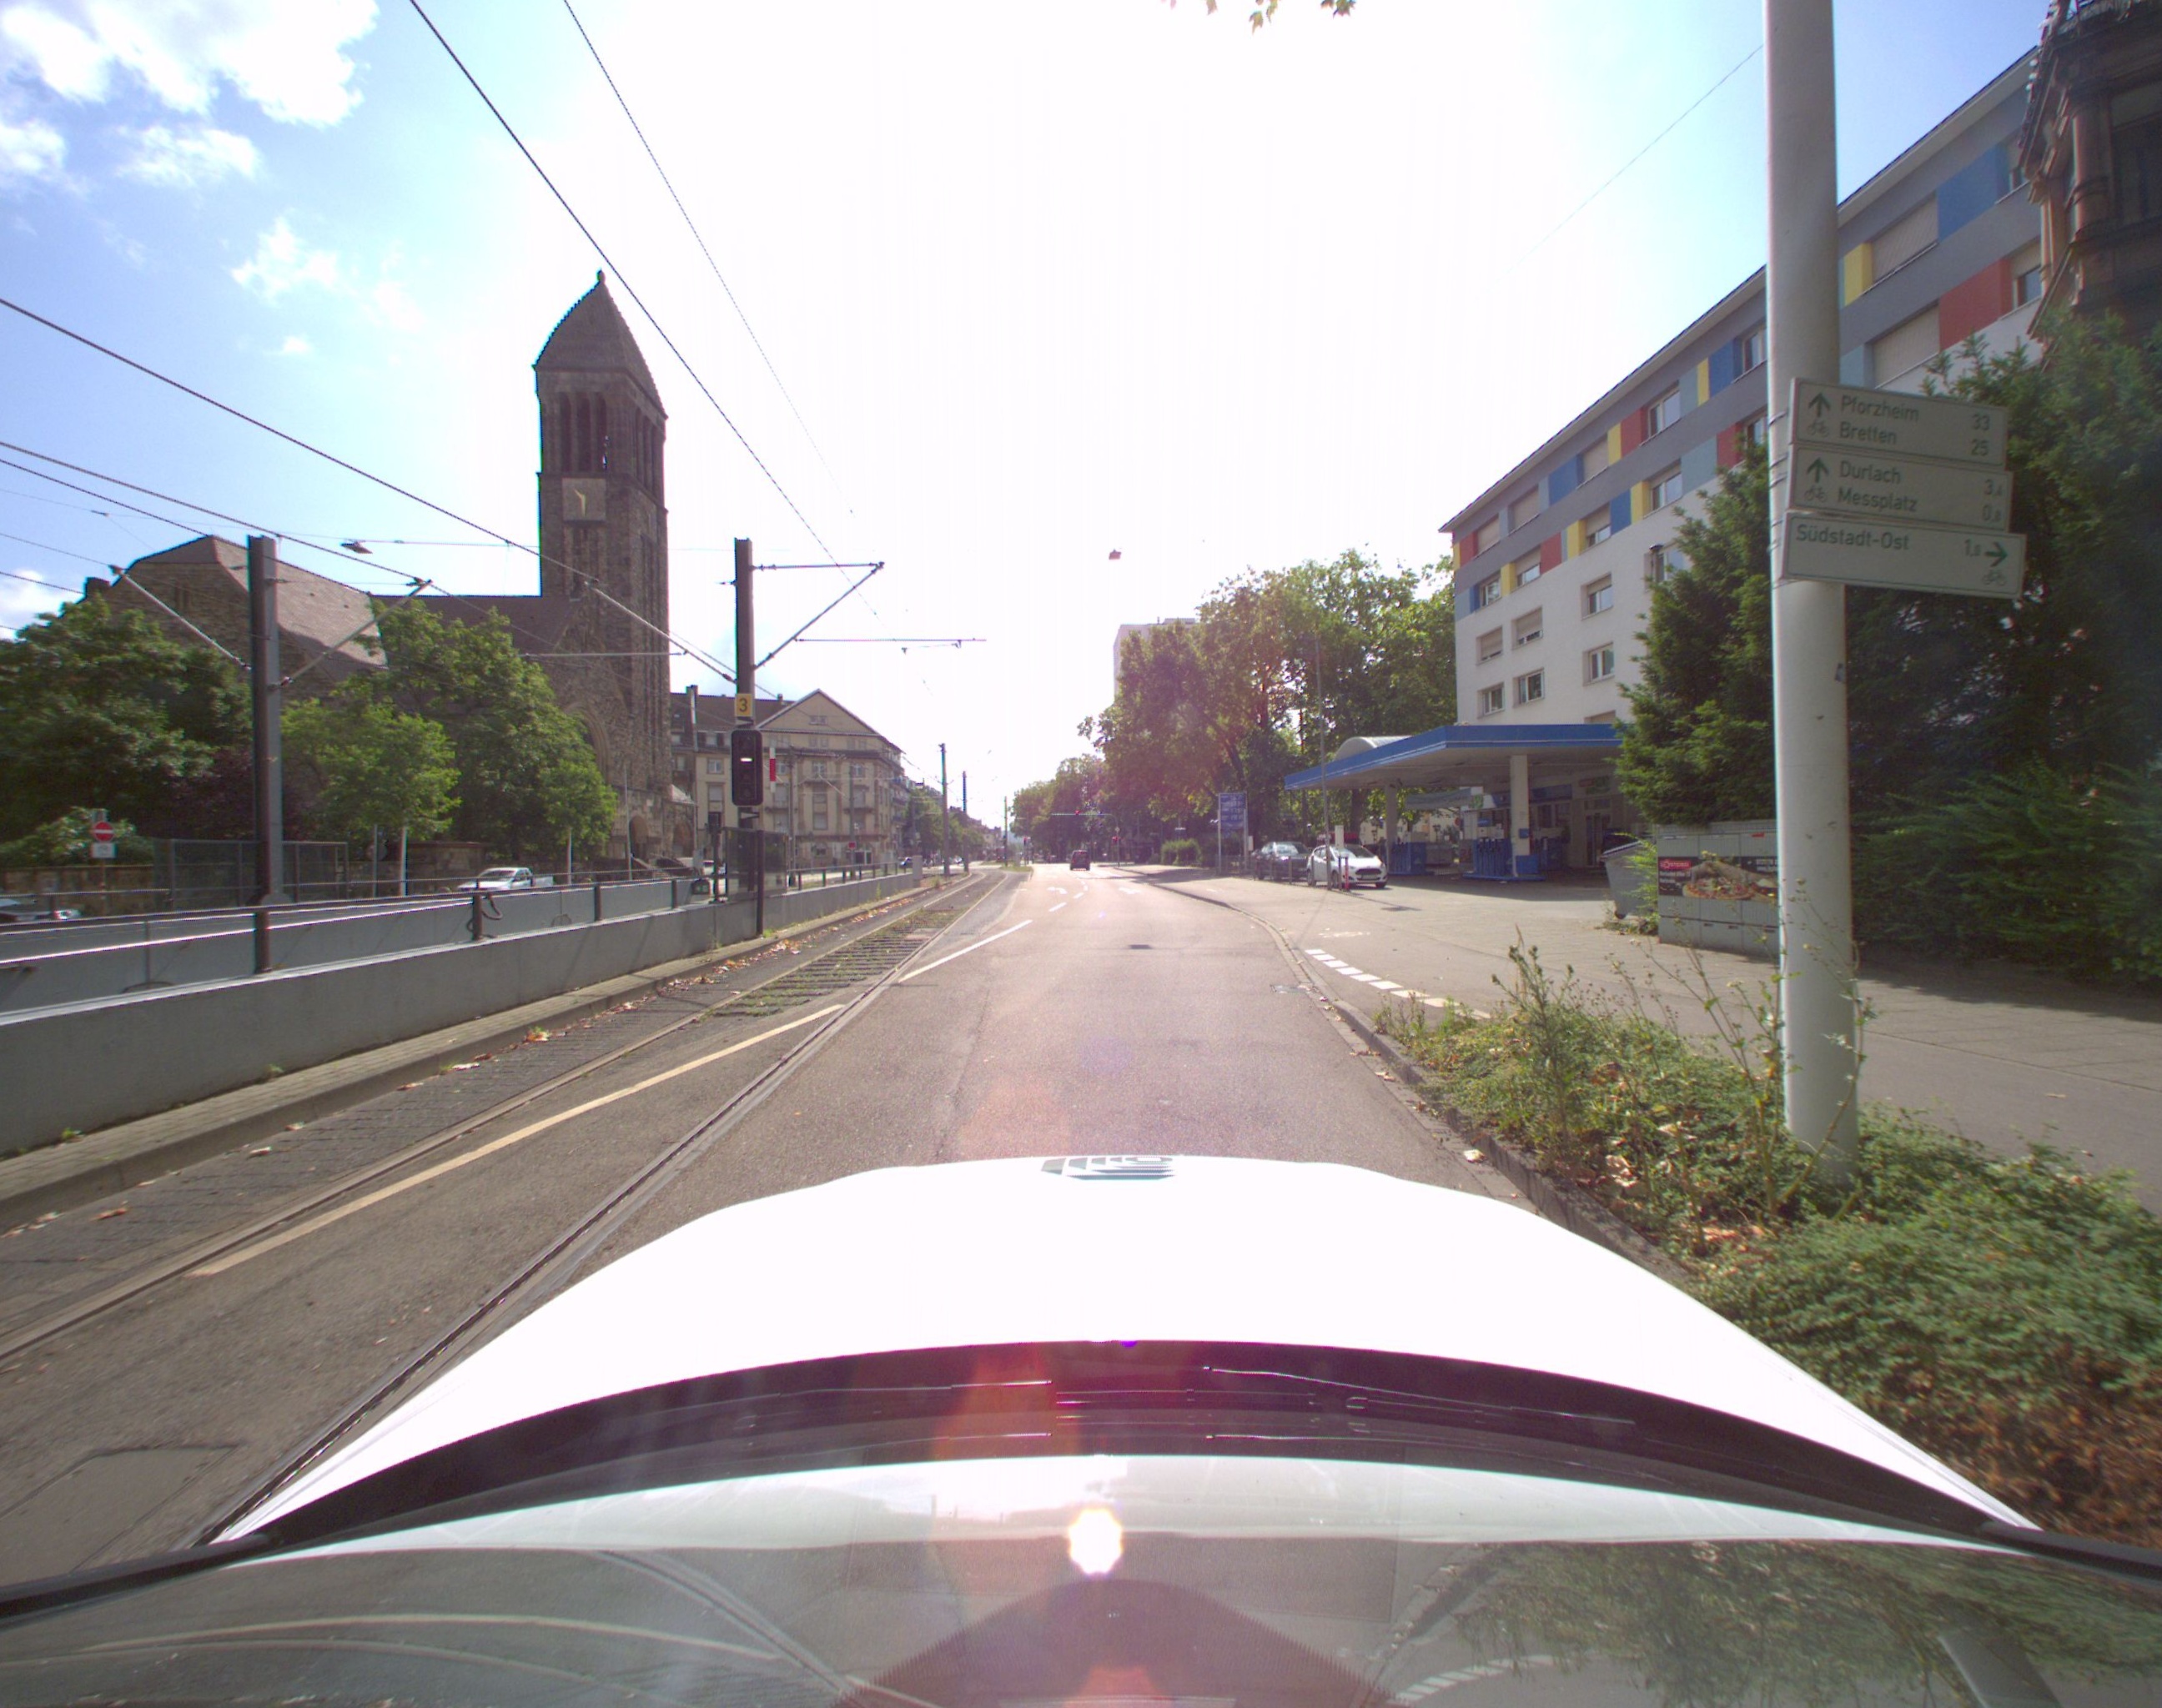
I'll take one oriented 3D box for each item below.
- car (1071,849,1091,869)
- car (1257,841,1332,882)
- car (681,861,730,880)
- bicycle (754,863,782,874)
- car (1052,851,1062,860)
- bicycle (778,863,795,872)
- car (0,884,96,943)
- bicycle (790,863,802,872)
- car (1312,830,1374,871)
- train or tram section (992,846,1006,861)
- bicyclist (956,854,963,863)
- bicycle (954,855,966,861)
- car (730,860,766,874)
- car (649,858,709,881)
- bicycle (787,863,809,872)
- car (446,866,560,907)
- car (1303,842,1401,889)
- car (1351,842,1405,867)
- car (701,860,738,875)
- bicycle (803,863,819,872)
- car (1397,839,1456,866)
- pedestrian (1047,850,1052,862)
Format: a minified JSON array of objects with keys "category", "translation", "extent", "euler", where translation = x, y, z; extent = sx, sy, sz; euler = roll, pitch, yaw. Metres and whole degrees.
[{"category":"car","translation":[-0.034,0.461,75.548],"extent":[1.746,1.809,3.471],"euler":[0,0,-3]},{"category":"car","translation":[8.908,0.293,34.384],"extent":[1.801,1.602,4.579],"euler":[-1,0,-2]},{"category":"car","translation":[-31.914,1.377,69.245],"extent":[3.259,1.502,1.851],"euler":[-1,0,-5]},{"category":"bicycle","translation":[-38.855,1.821,101.099],"extent":[3.287,1.253,1.002],"euler":[-2,0,13]},{"category":"car","translation":[-4.614,0.273,155.512],"extent":[1.859,1.752,3.996],"euler":[-2,0,-3]},{"category":"bicycle","translation":[-36.432,1.679,100.713],"extent":[1.986,1.114,0.481],"euler":[-2,0,-40]},{"category":"car","translation":[-29.829,1.635,22.062],"extent":[3.953,1.464,1.722],"euler":[-2,0,-3]},{"category":"bicycle","translation":[-36.311,1.690,103.690],"extent":[0.809,1.053,2.540],"euler":[-1,0,-32]},{"category":"car","translation":[17.710,-0.239,55.325],"extent":[2.106,2.582,6.016],"euler":[-1,0,-1]},{"category":"train or tram section","translation":[-18.177,-0.099,180.505],"extent":[2.235,3.331,12.959],"euler":[-1,0,-2]},{"category":"bicyclist","translation":[-21.781,0.755,145.529],"extent":[0.771,1.511,1.006],"euler":[-1,0,23]},{"category":"bicycle","translation":[-21.631,0.688,145.645],"extent":[0.886,1.048,2.322],"euler":[-1,0,24]},{"category":"car","translation":[-40.836,1.578,99.907],"extent":[3.949,1.674,2.012],"euler":[-1,0,29]},{"category":"car","translation":[-32.528,1.245,65.925],"extent":[3.865,1.748,1.891],"euler":[-1,0,-6]},{"category":"bicycle","translation":[-35.486,1.682,102.186],"extent":[2.574,1.053,0.676],"euler":[-2,0,-31]},{"category":"car","translation":[-24.404,1.310,34.598],"extent":[1.927,1.504,4.407],"euler":[-1,0,-5]},{"category":"car","translation":[9.088,0.342,27.696],"extent":[1.802,1.455,3.996],"euler":[-1,0,-3]},{"category":"car","translation":[20.394,0.015,56.154],"extent":[2.001,1.651,4.650],"euler":[0,0,-1]},{"category":"car","translation":[-43.761,1.658,98.654],"extent":[3.952,1.639,1.812],"euler":[-1,0,21]},{"category":"bicycle","translation":[-34.662,1.678,104.556],"extent":[0.798,1.053,2.573],"euler":[-2,0,9]},{"category":"car","translation":[23.403,-0.094,55.357],"extent":[2.001,1.754,4.650],"euler":[0,0,-1]},{"category":"pedestrian","translation":[-4.872,0.298,125.075],"extent":[0.657,1.784,0.660],"euler":[-1,0,-3]}]
